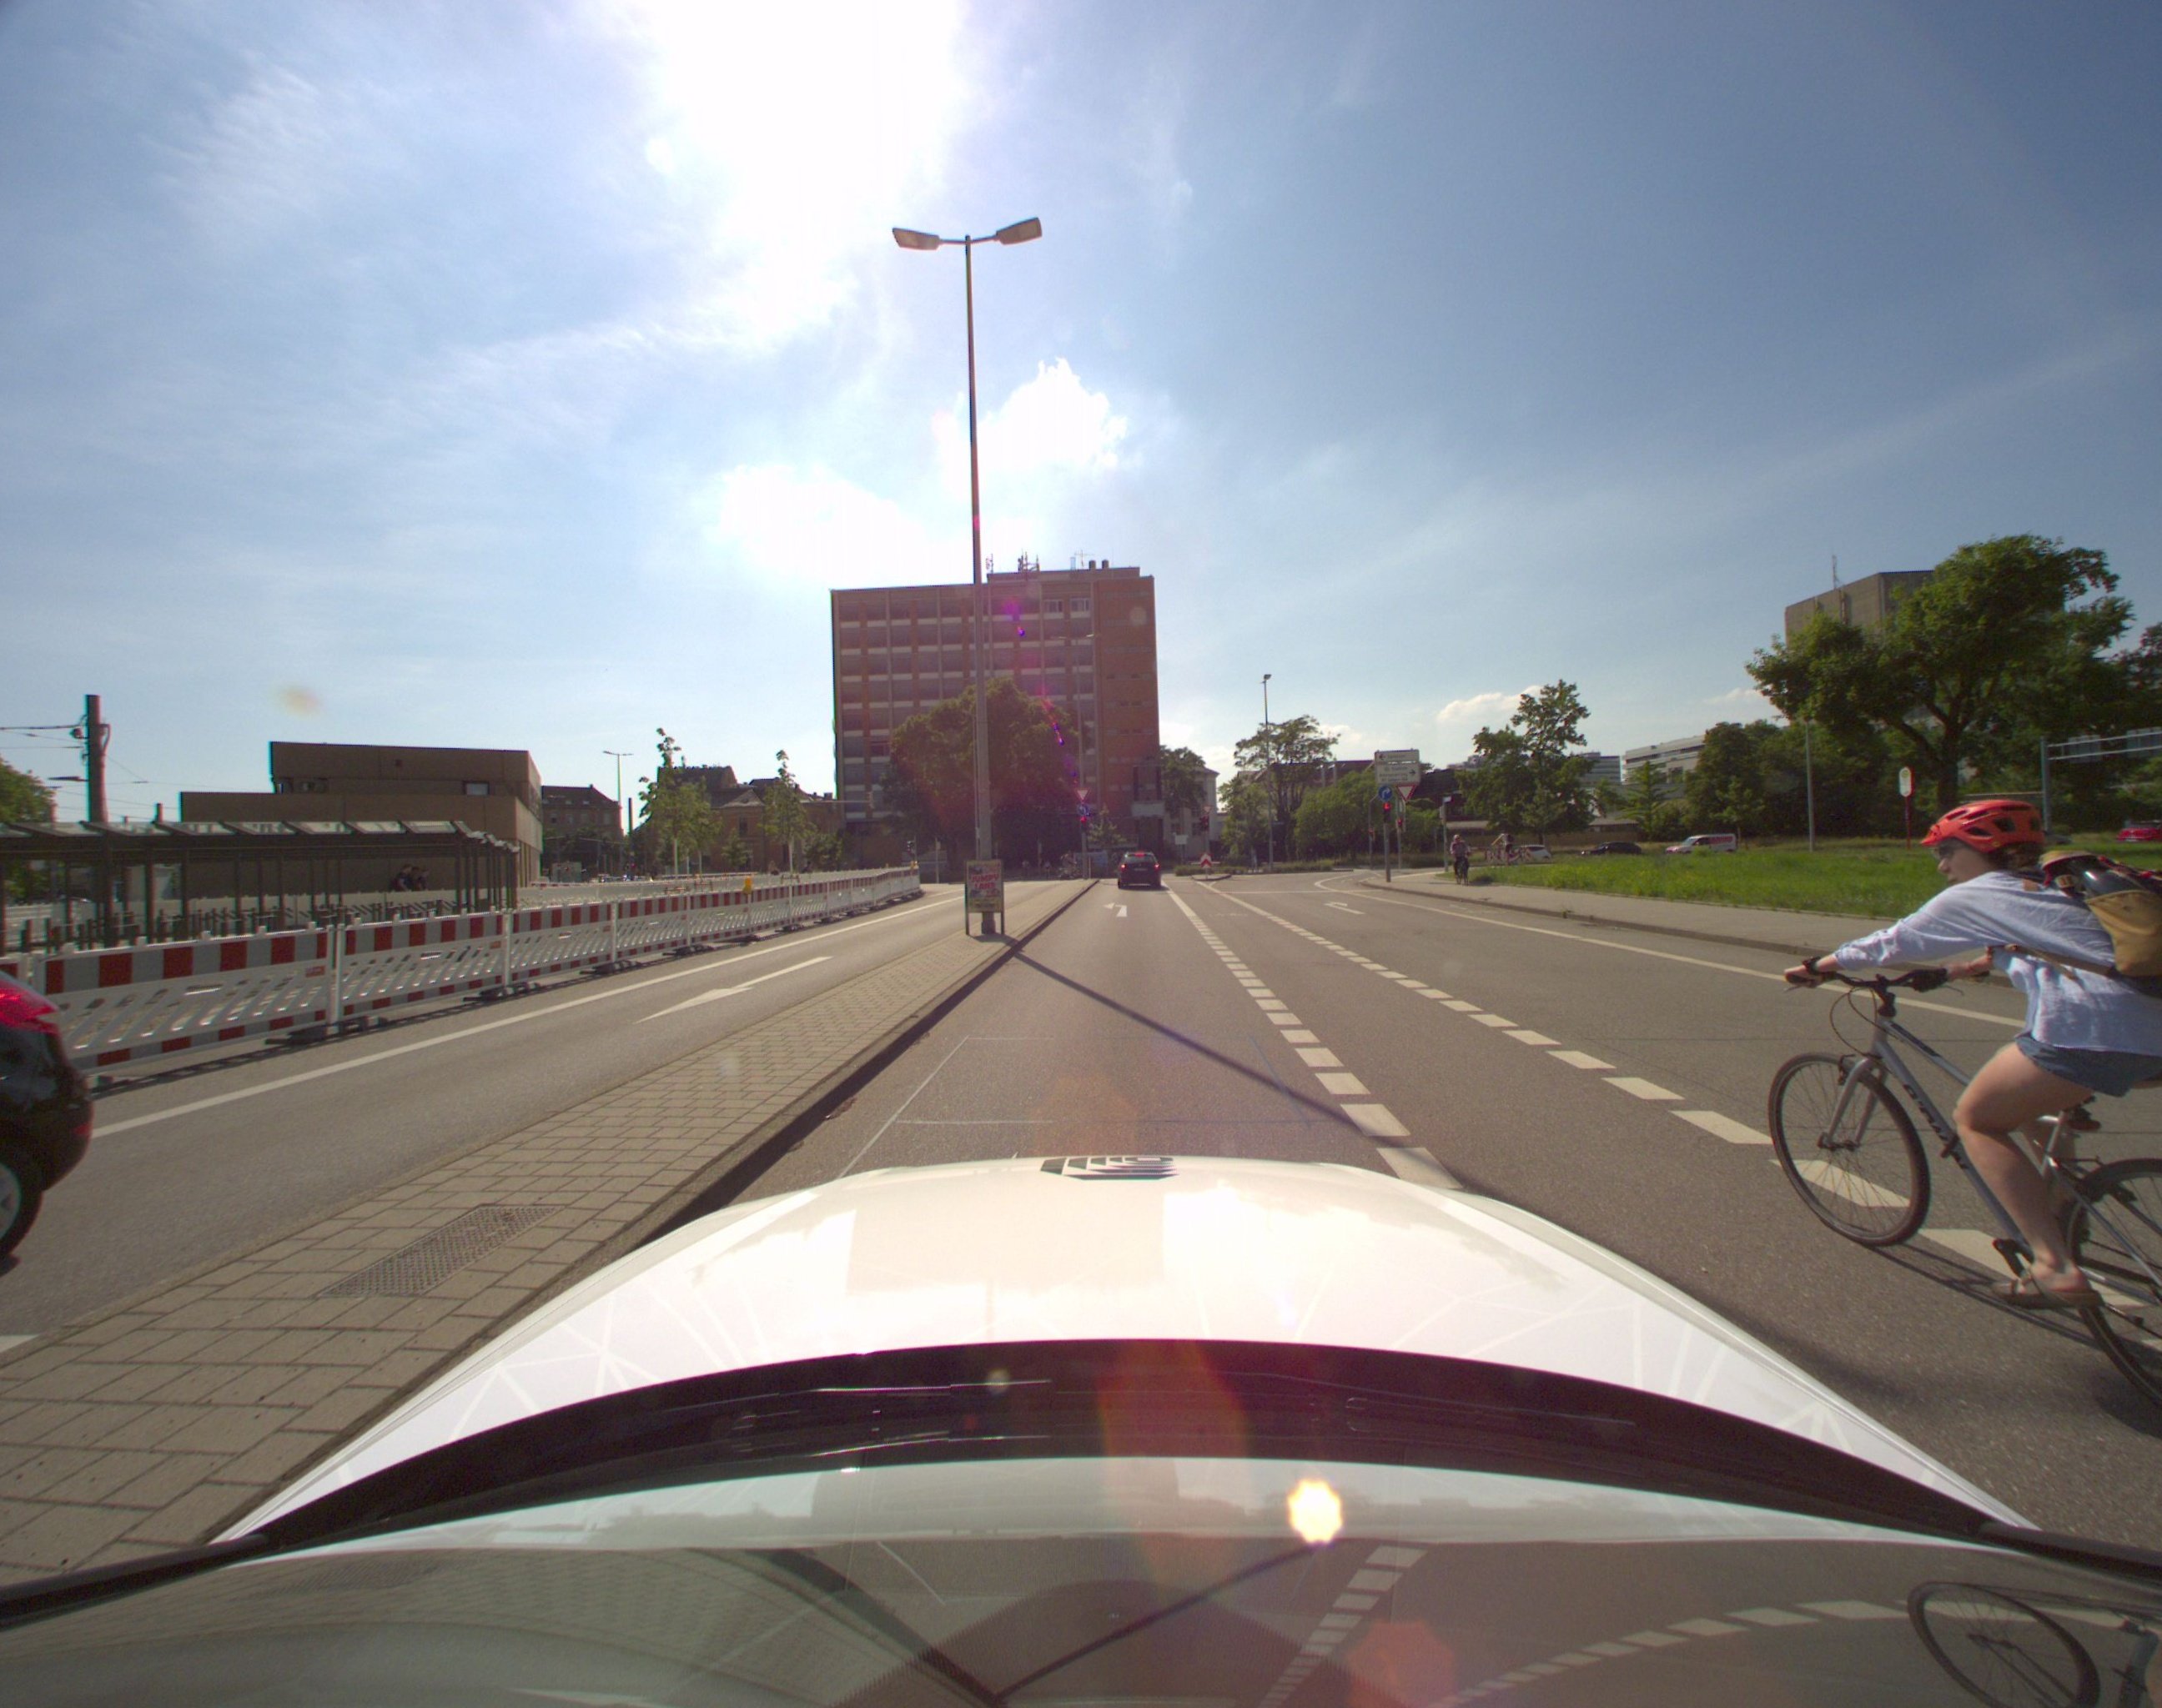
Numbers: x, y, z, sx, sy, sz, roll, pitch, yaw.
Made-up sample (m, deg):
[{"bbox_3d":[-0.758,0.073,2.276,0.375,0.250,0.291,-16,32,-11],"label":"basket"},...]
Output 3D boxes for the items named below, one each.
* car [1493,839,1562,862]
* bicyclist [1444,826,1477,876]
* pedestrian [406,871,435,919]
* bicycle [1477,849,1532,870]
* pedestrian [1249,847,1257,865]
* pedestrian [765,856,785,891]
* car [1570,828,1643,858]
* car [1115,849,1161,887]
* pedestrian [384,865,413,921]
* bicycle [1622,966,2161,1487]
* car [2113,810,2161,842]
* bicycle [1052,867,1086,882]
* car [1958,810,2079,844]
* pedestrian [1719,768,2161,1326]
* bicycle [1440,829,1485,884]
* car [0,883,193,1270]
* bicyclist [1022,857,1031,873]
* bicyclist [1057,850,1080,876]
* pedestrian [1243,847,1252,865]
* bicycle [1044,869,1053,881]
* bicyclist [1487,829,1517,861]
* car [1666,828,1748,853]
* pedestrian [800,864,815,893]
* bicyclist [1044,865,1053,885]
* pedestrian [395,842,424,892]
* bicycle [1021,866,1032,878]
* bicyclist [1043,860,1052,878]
[{"bbox_3d":[32.656,-0.236,59.652,3.970,1.464,2.002,-2,-1,3],"label":"car"},{"bbox_3d":[12.939,-0.102,27.764,0.675,1.655,0.920,-3,0,3],"label":"bicyclist"},{"bbox_3d":[-23.971,1.486,29.567,0.533,1.708,0.572,-3,-1,24],"label":"pedestrian"},{"bbox_3d":[19.692,0.269,37.886,0.678,0.916,2.143,-2,0,-39],"label":"bicycle"},{"bbox_3d":[18.536,0.244,87.579,0.634,1.874,0.797,-4,0,3],"label":"pedestrian"},{"bbox_3d":[-15.692,1.004,41.767,0.736,1.752,1.106,-2,-3,-12],"label":"pedestrian"},{"bbox_3d":[38.348,-0.774,59.482,3.967,2.013,2.003,-2,0,5],"label":"car"},{"bbox_3d":[2.372,0.545,33.540,1.772,1.443,3.822,0,0,4],"label":"car"},{"bbox_3d":[-23.931,1.376,28.567,0.436,1.915,0.609,-3,-1,24],"label":"pedestrian"},{"bbox_3d":[2.803,0.989,2.790,0.594,0.931,2.029,-1,0,2],"label":"bicycle"},{"bbox_3d":[54.221,-1.378,40.297,3.970,1.508,1.754,1,0,3],"label":"car"},{"bbox_3d":[-0.682,1.171,47.397,1.875,0.792,0.563,-2,1,16],"label":"bicycle"},{"bbox_3d":[47.495,-1.337,41.321,3.970,1.508,1.754,-3,0,3],"label":"car"},{"bbox_3d":[2.784,0.509,2.661,0.581,1.466,1.014,-1,-1,1],"label":"pedestrian"},{"bbox_3d":[12.943,0.083,27.681,0.675,1.765,1.813,-3,0,4],"label":"bicycle"},{"bbox_3d":[-5.070,0.911,1.866,1.659,1.451,3.822,-4,0,4],"label":"car"},{"bbox_3d":[-4.885,0.971,73.020,0.537,1.417,1.030,-3,-1,2],"label":"bicyclist"},{"bbox_3d":[-0.739,0.515,47.419,1.156,1.474,0.566,-3,0,16],"label":"bicyclist"},{"bbox_3d":[18.119,0.212,88.536,0.787,1.874,0.642,-4,0,18],"label":"pedestrian"},{"bbox_3d":[-2.777,1.772,69.344,0.617,0.961,1.967,-5,0,-1],"label":"bicycle"},{"bbox_3d":[19.601,-0.415,37.958,0.499,1.470,1.129,1,-2,-40],"label":"bicyclist"},{"bbox_3d":[44.804,-0.970,58.365,4.292,1.569,1.912,-2,0,3],"label":"car"},{"bbox_3d":[-14.543,1.281,43.248,0.631,1.491,0.614,-2,0,-13],"label":"pedestrian"},{"bbox_3d":[-2.777,1.772,69.356,0.617,1.581,1.013,-5,0,-1],"label":"bicyclist"},{"bbox_3d":[-24.622,0.476,29.870,0.538,1.778,0.572,-3,-1,24],"label":"pedestrian"},{"bbox_3d":[-4.877,1.619,72.813,0.701,0.977,2.031,-3,0,2],"label":"bicycle"},{"bbox_3d":[-2.815,1.285,69.348,0.617,1.443,0.920,-5,0,-1],"label":"bicyclist"}]
